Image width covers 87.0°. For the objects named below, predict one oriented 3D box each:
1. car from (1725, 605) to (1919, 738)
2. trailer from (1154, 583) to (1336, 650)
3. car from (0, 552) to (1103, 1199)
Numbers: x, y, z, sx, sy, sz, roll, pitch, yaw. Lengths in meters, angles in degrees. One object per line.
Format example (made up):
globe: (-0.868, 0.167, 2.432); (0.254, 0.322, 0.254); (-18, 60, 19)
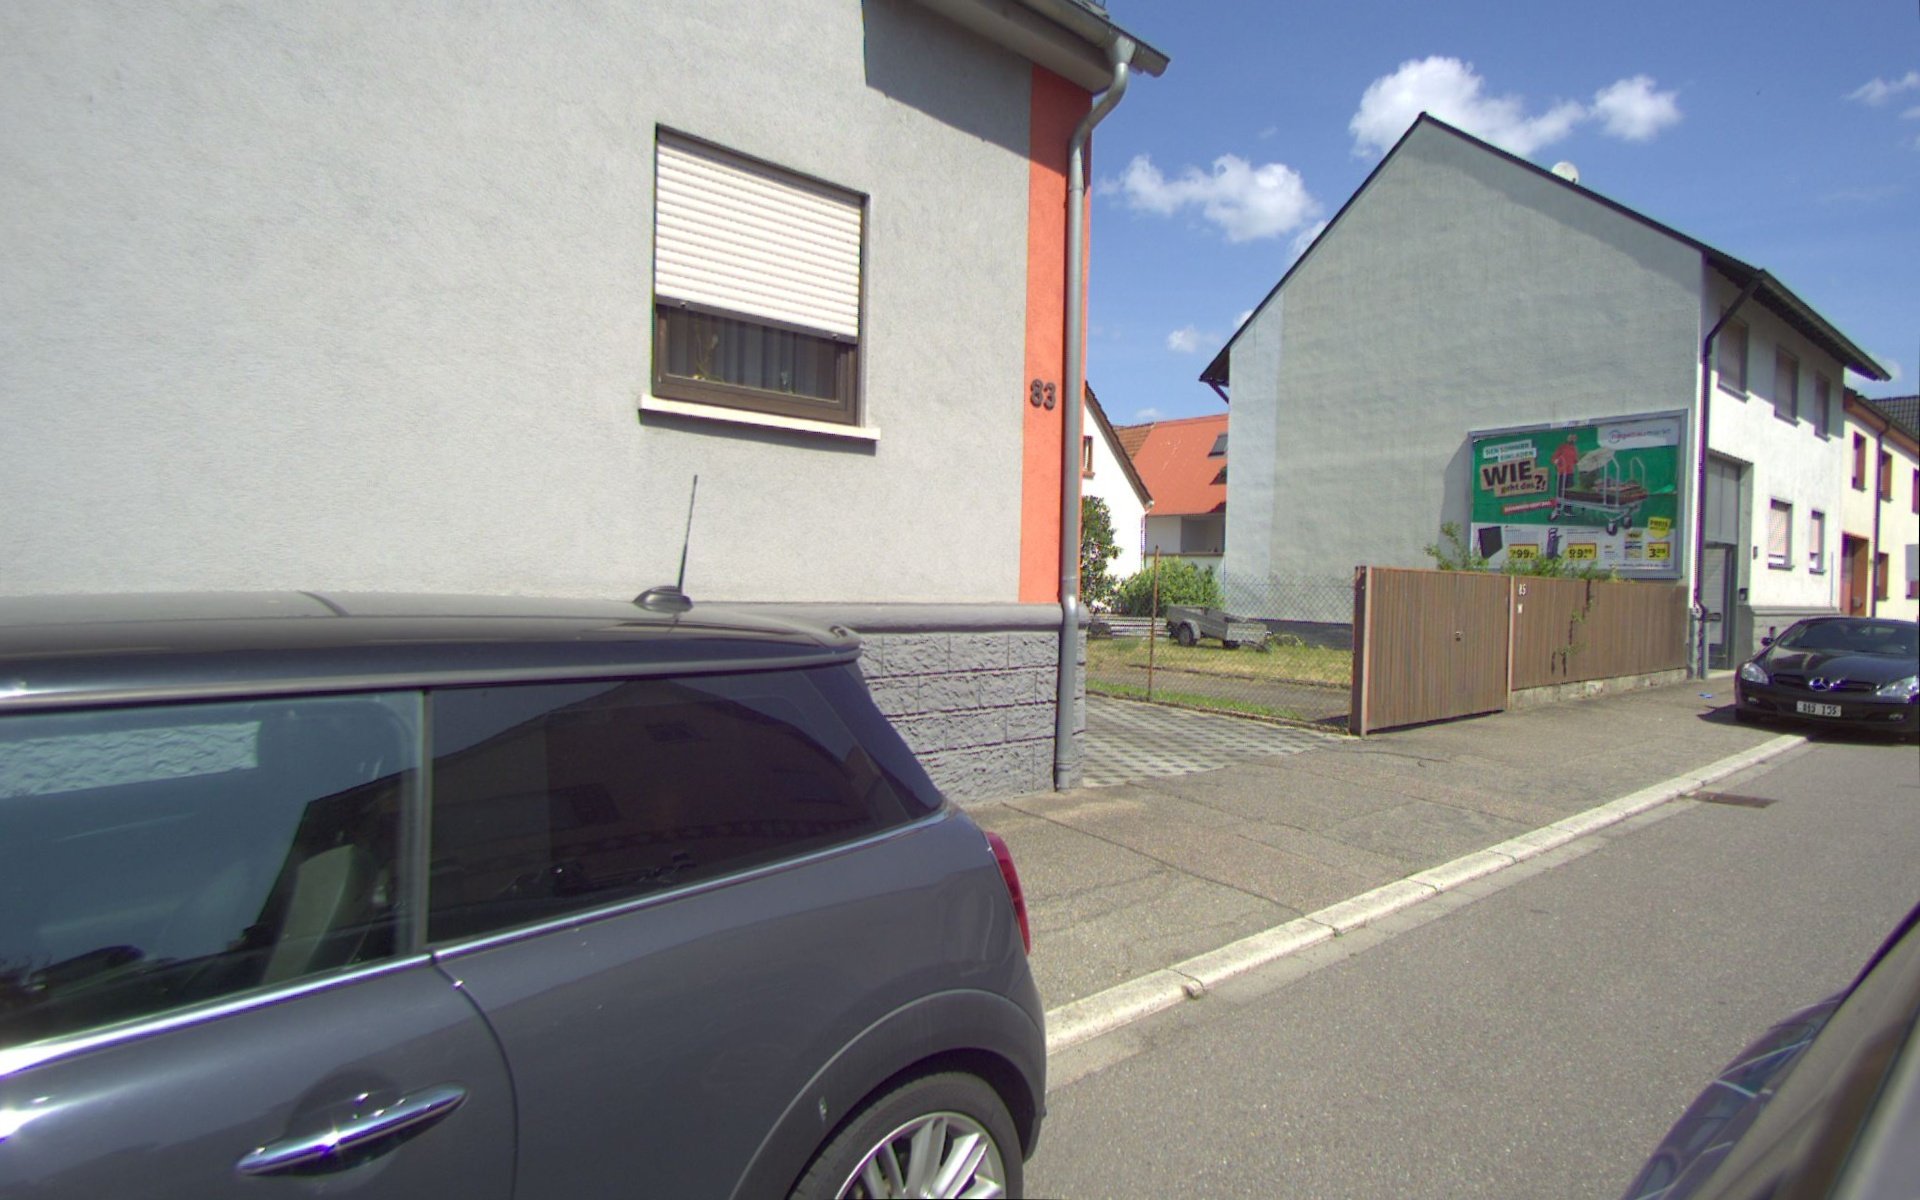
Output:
car: (10.921, 0.747, 12.217); (4.073, 1.291, 1.820); (0, 1, -40)
trailer: (6.164, 0.311, 22.219); (1.912, 1.274, 3.466); (0, 1, -31)
car: (-1.634, 0.645, 1.485); (3.592, 1.440, 1.692); (0, 2, -41)
